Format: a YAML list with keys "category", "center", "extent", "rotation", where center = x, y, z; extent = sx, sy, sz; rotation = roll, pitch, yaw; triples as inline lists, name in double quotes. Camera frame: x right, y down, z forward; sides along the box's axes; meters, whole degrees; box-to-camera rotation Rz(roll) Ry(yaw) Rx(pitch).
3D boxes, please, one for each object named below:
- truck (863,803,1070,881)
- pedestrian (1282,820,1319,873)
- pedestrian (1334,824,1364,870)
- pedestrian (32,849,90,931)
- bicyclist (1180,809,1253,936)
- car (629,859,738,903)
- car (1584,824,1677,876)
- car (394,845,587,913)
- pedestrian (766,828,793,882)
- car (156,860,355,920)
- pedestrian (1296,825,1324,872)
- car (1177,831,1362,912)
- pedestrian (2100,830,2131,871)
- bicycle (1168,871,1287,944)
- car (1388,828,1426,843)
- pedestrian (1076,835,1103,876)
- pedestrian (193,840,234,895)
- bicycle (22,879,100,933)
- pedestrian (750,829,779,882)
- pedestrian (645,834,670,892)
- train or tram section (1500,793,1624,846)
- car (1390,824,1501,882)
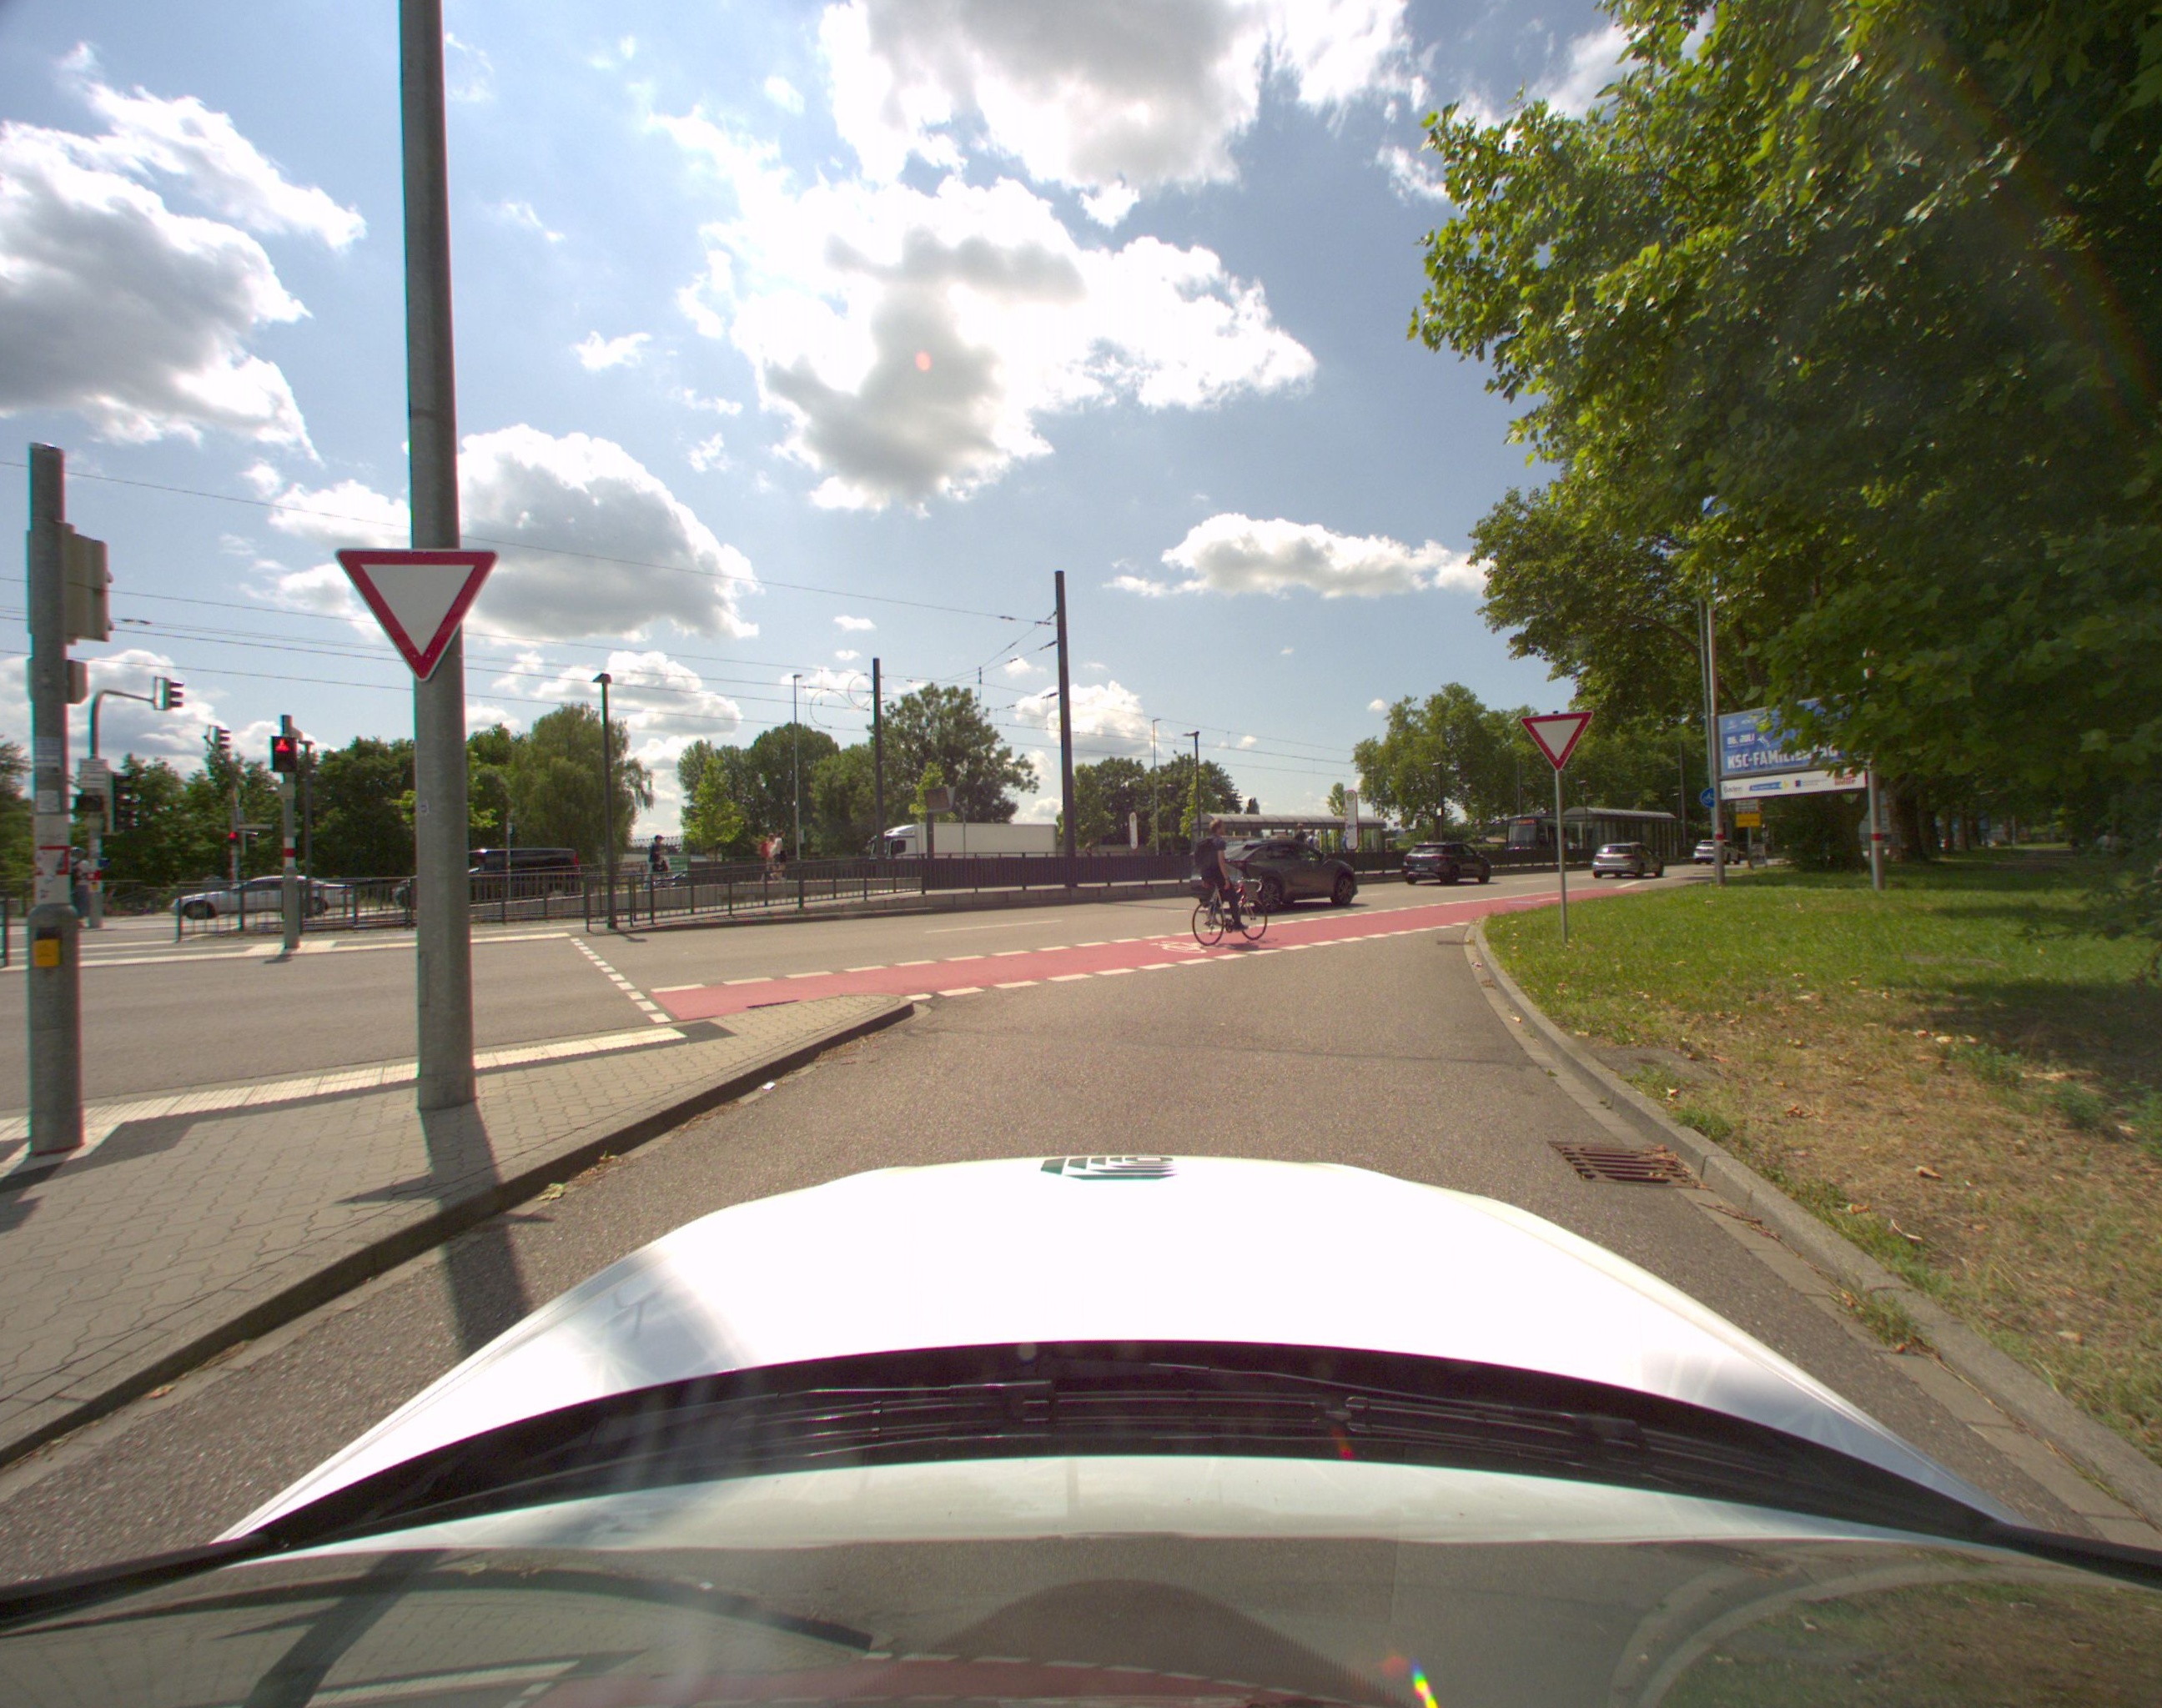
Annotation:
- category: "truck"
  center: [-6.355, -0.754, 47.418]
  extent: [12.054, 4.104, 2.919]
  rotation: [-1, 0, -38]
- category: "pedestrian"
  center: [8.185, -0.288, 30.364]
  extent: [0.999, 1.939, 0.866]
  rotation: [-2, 1, -39]
- category: "pedestrian"
  center: [10.501, -0.289, 31.896]
  extent: [0.934, 1.755, 0.728]
  rotation: [-1, 0, -39]
- category: "pedestrian"
  center: [-22.645, 0.776, 18.095]
  extent: [0.616, 1.769, 0.665]
  rotation: [-1, 0, -36]
- category: "bicyclist"
  center: [2.065, 0.258, 12.395]
  extent: [0.928, 1.846, 0.604]
  rotation: [-1, 0, -38]
- category: "car"
  center: [-18.306, 1.206, 37.579]
  extent: [4.182, 1.774, 1.863]
  rotation: [-2, 1, -39]
- category: "car"
  center: [23.220, -0.196, 34.355]
  extent: [4.384, 1.989, 1.977]
  rotation: [-2, 0, -39]
- category: "car"
  center: [-18.337, 0.701, 25.481]
  extent: [4.690, 1.820, 1.977]
  rotation: [-2, 1, -38]
- category: "pedestrian"
  center: [-9.947, 0.021, 26.880]
  extent: [0.681, 1.748, 0.630]
  rotation: [-1, 2, -36]
- category: "car"
  center: [-28.758, 1.189, 28.643]
  extent: [4.690, 1.774, 1.863]
  rotation: [-2, 1, -39]
- category: "pedestrian"
  center: [9.365, -0.235, 33.308]
  extent: [0.872, 1.871, 0.675]
  rotation: [-2, 1, -7]
- category: "car"
  center: [4.511, 0.332, 19.120]
  extent: [4.543, 1.674, 1.881]
  rotation: [-2, 0, -40]
- category: "pedestrian"
  center: [43.335, -0.147, 34.121]
  extent: [0.896, 1.695, 0.768]
  rotation: [-1, 0, -39]
- category: "bicycle"
  center: [2.290, 0.786, 12.562]
  extent: [2.033, 0.999, 0.615]
  rotation: [0, 0, -38]
- category: "car"
  center: [39.497, -2.232, 98.676]
  extent: [1.919, 1.662, 3.883]
  rotation: [-3, 1, -37]
- category: "pedestrian"
  center: [0.389, 0.074, 36.905]
  extent: [0.934, 1.807, 0.728]
  rotation: [-1, 0, -39]
- category: "pedestrian"
  center: [-33.000, 0.514, 30.993]
  extent: [0.891, 2.013, 0.990]
  rotation: [-1, 1, 44]
- category: "bicycle"
  center: [-22.660, 1.137, 18.122]
  extent: [0.624, 1.087, 1.703]
  rotation: [-1, 0, -36]
- category: "pedestrian"
  center: [-10.611, 0.047, 27.298]
  extent: [0.711, 1.721, 0.594]
  rotation: [-2, 1, -36]
- category: "pedestrian"
  center: [-12.749, 0.264, 24.496]
  extent: [0.526, 1.721, 0.722]
  rotation: [-2, 1, -34]
- category: "train or tram section"
  center: [33.254, -2.230, 55.833]
  extent: [14.176, 3.186, 3.011]
  rotation: [-1, -1, -41]
- category: "car"
  center: [13.520, -0.049, 30.084]
  extent: [4.384, 1.989, 1.977]
  rotation: [0, 0, -39]
